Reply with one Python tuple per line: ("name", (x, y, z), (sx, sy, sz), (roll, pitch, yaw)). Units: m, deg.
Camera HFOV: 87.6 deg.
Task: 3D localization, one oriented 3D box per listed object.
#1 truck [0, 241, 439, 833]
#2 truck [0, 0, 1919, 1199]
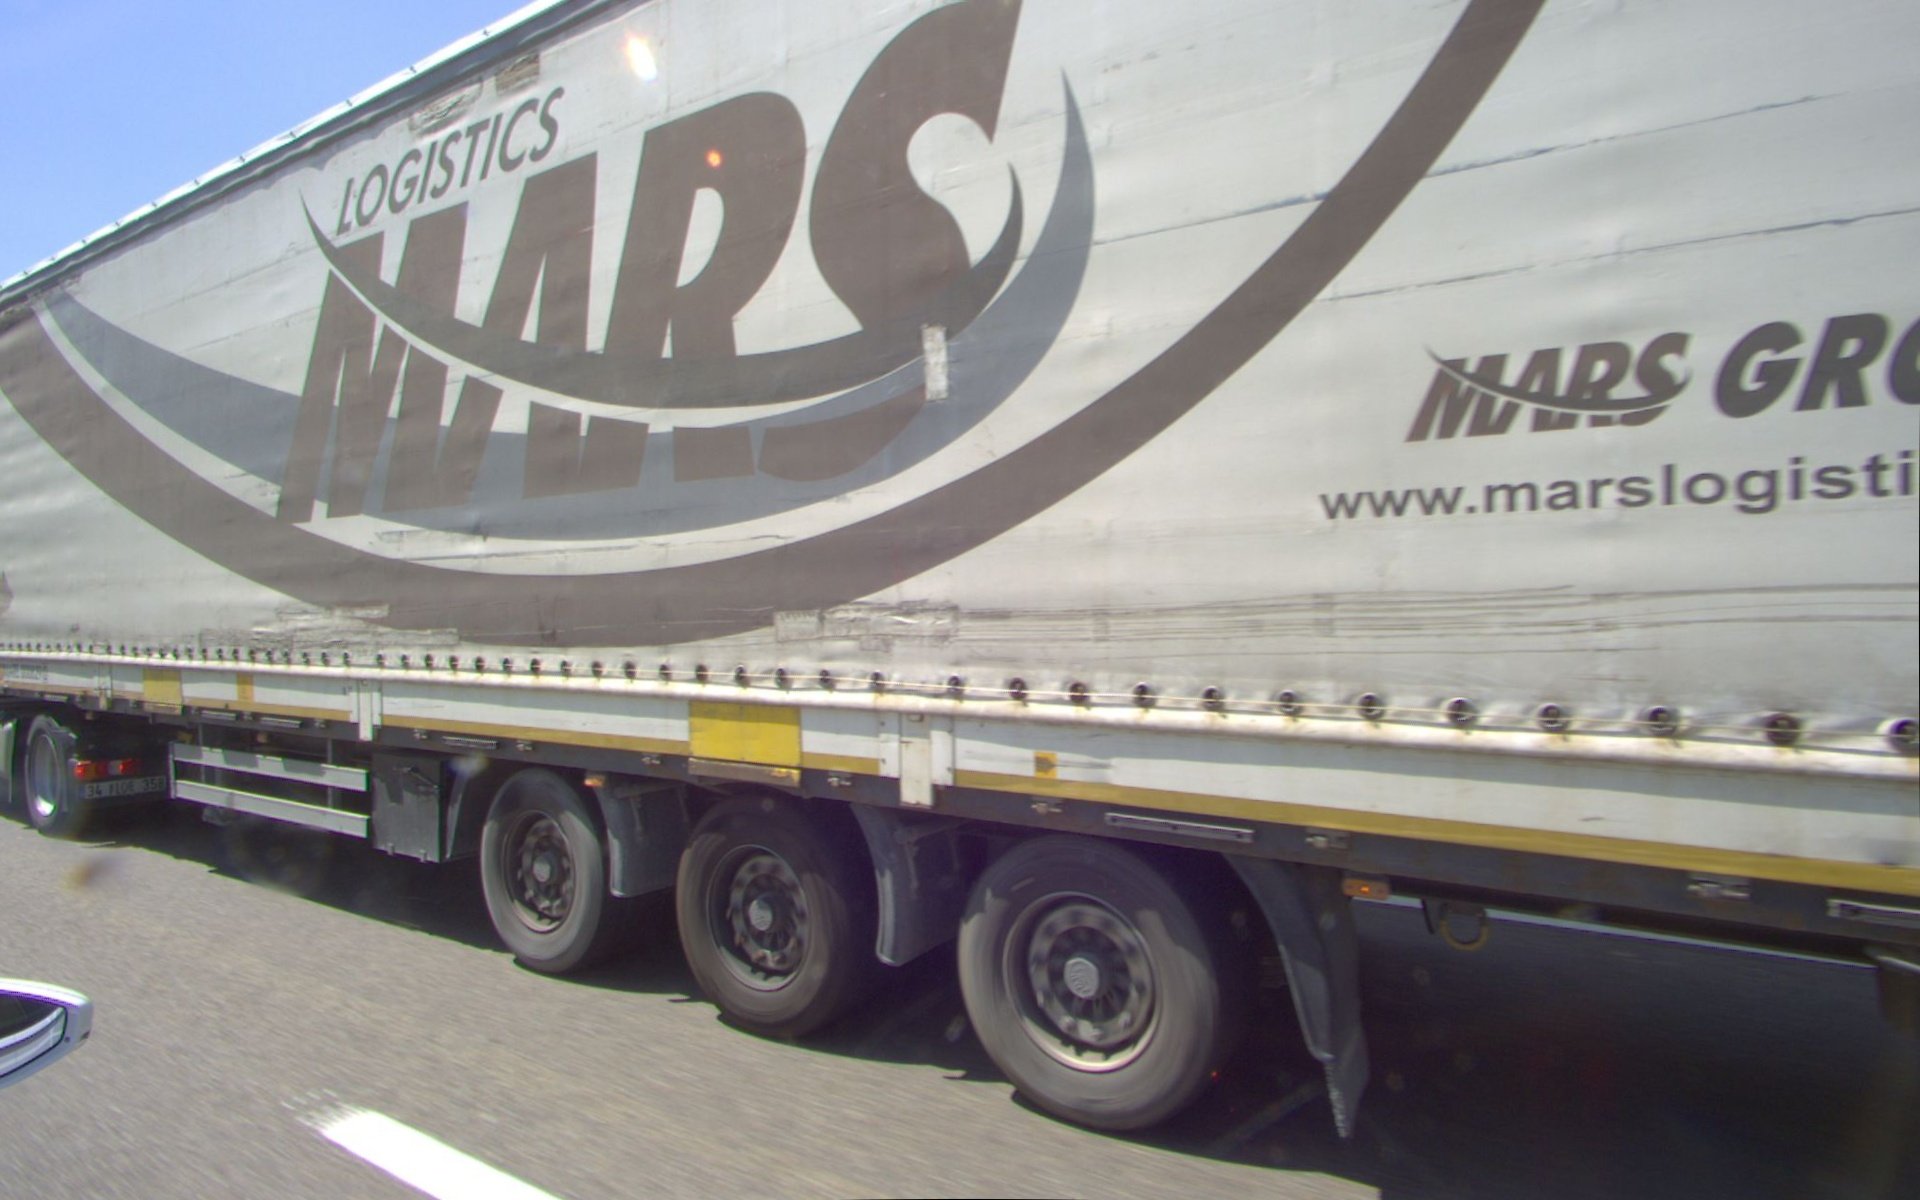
("truck", (-7.947, -0.347, 9.658), (5.673, 4.120, 2.714), (-2, -1, 32))
("truck", (-2.239, -0.540, 5.995), (13.547, 4.120, 2.721), (-2, -1, 33))
